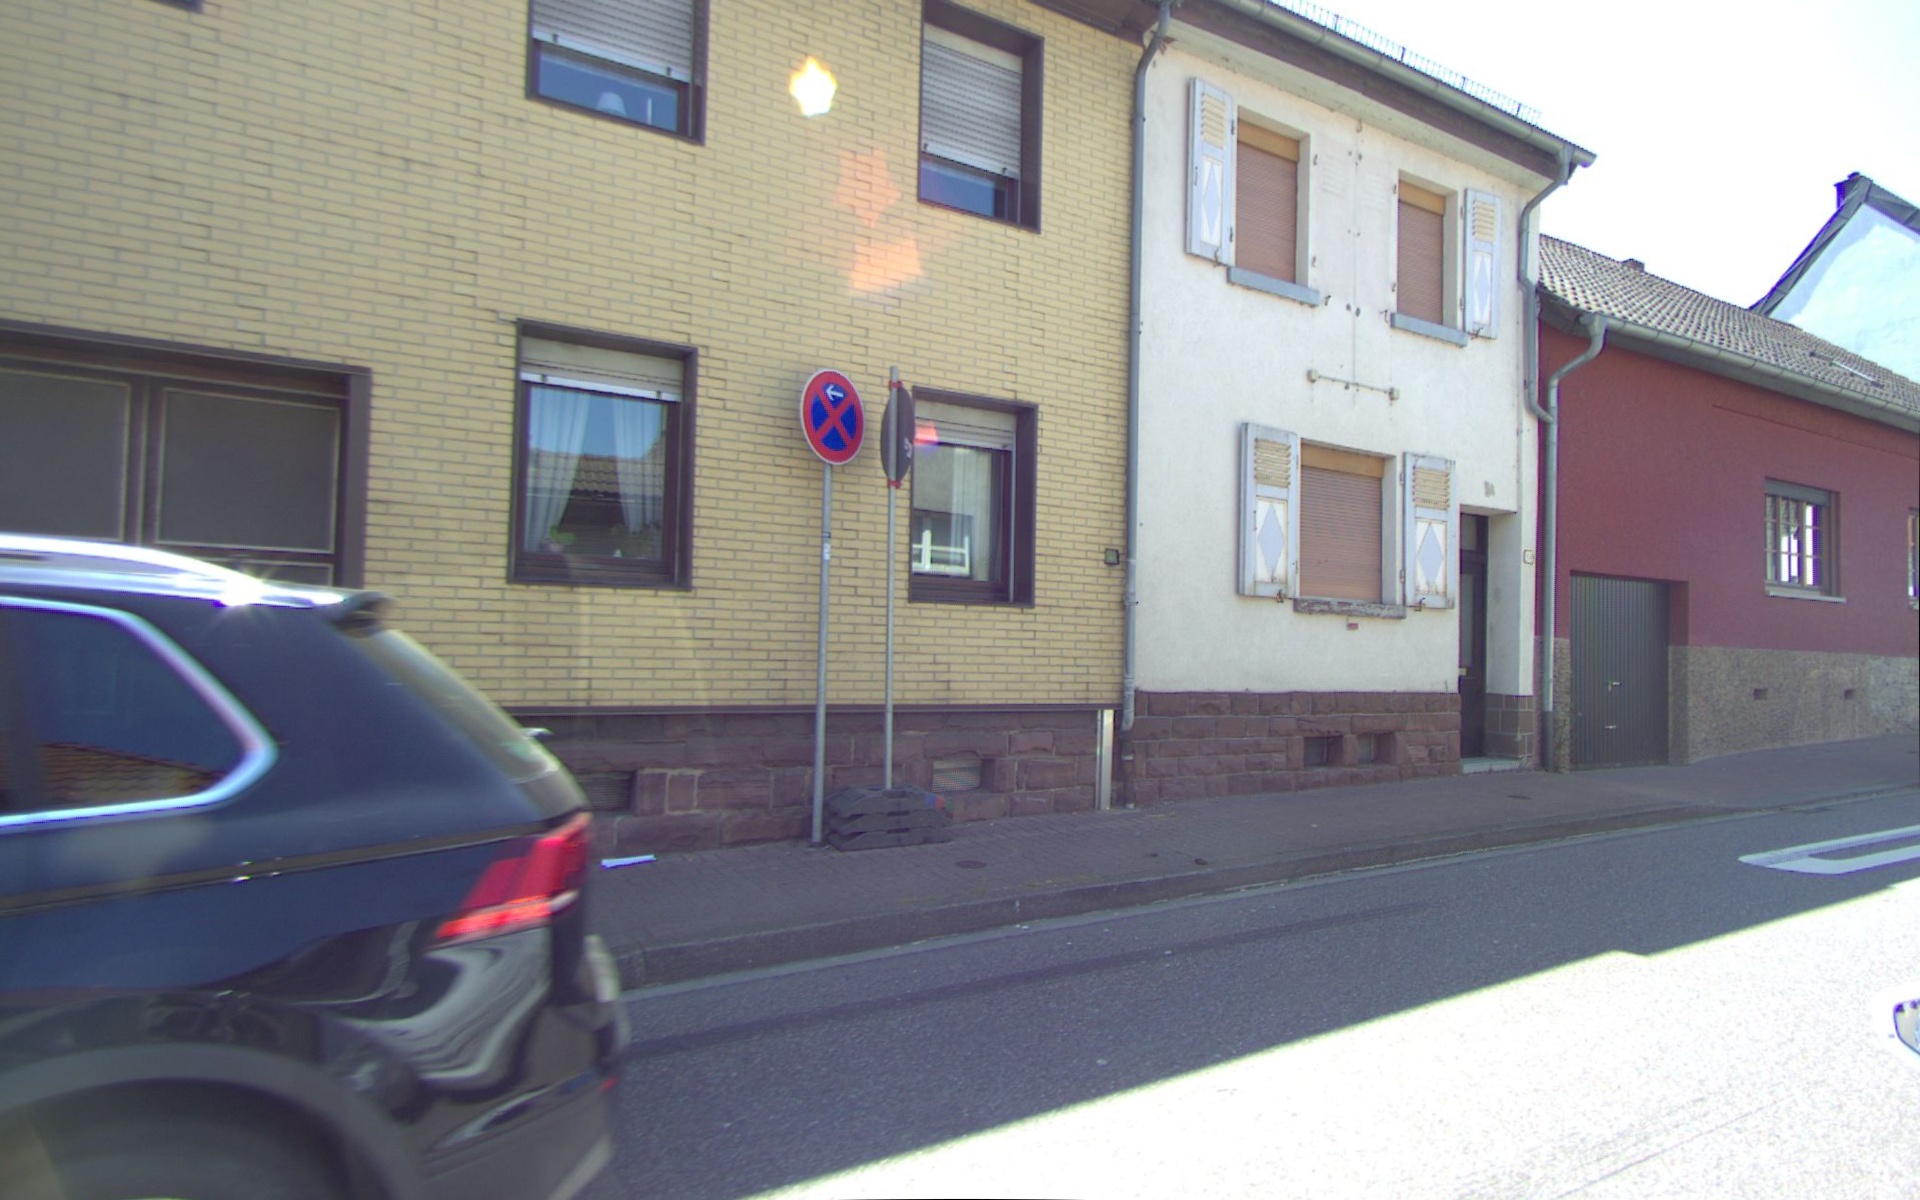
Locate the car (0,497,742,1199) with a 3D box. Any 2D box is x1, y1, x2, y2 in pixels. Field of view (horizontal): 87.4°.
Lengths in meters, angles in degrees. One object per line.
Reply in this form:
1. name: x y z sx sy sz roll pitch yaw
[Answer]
1. car: -2.716 0.690 1.650 4.286 1.630 1.803 2 -4 -30
